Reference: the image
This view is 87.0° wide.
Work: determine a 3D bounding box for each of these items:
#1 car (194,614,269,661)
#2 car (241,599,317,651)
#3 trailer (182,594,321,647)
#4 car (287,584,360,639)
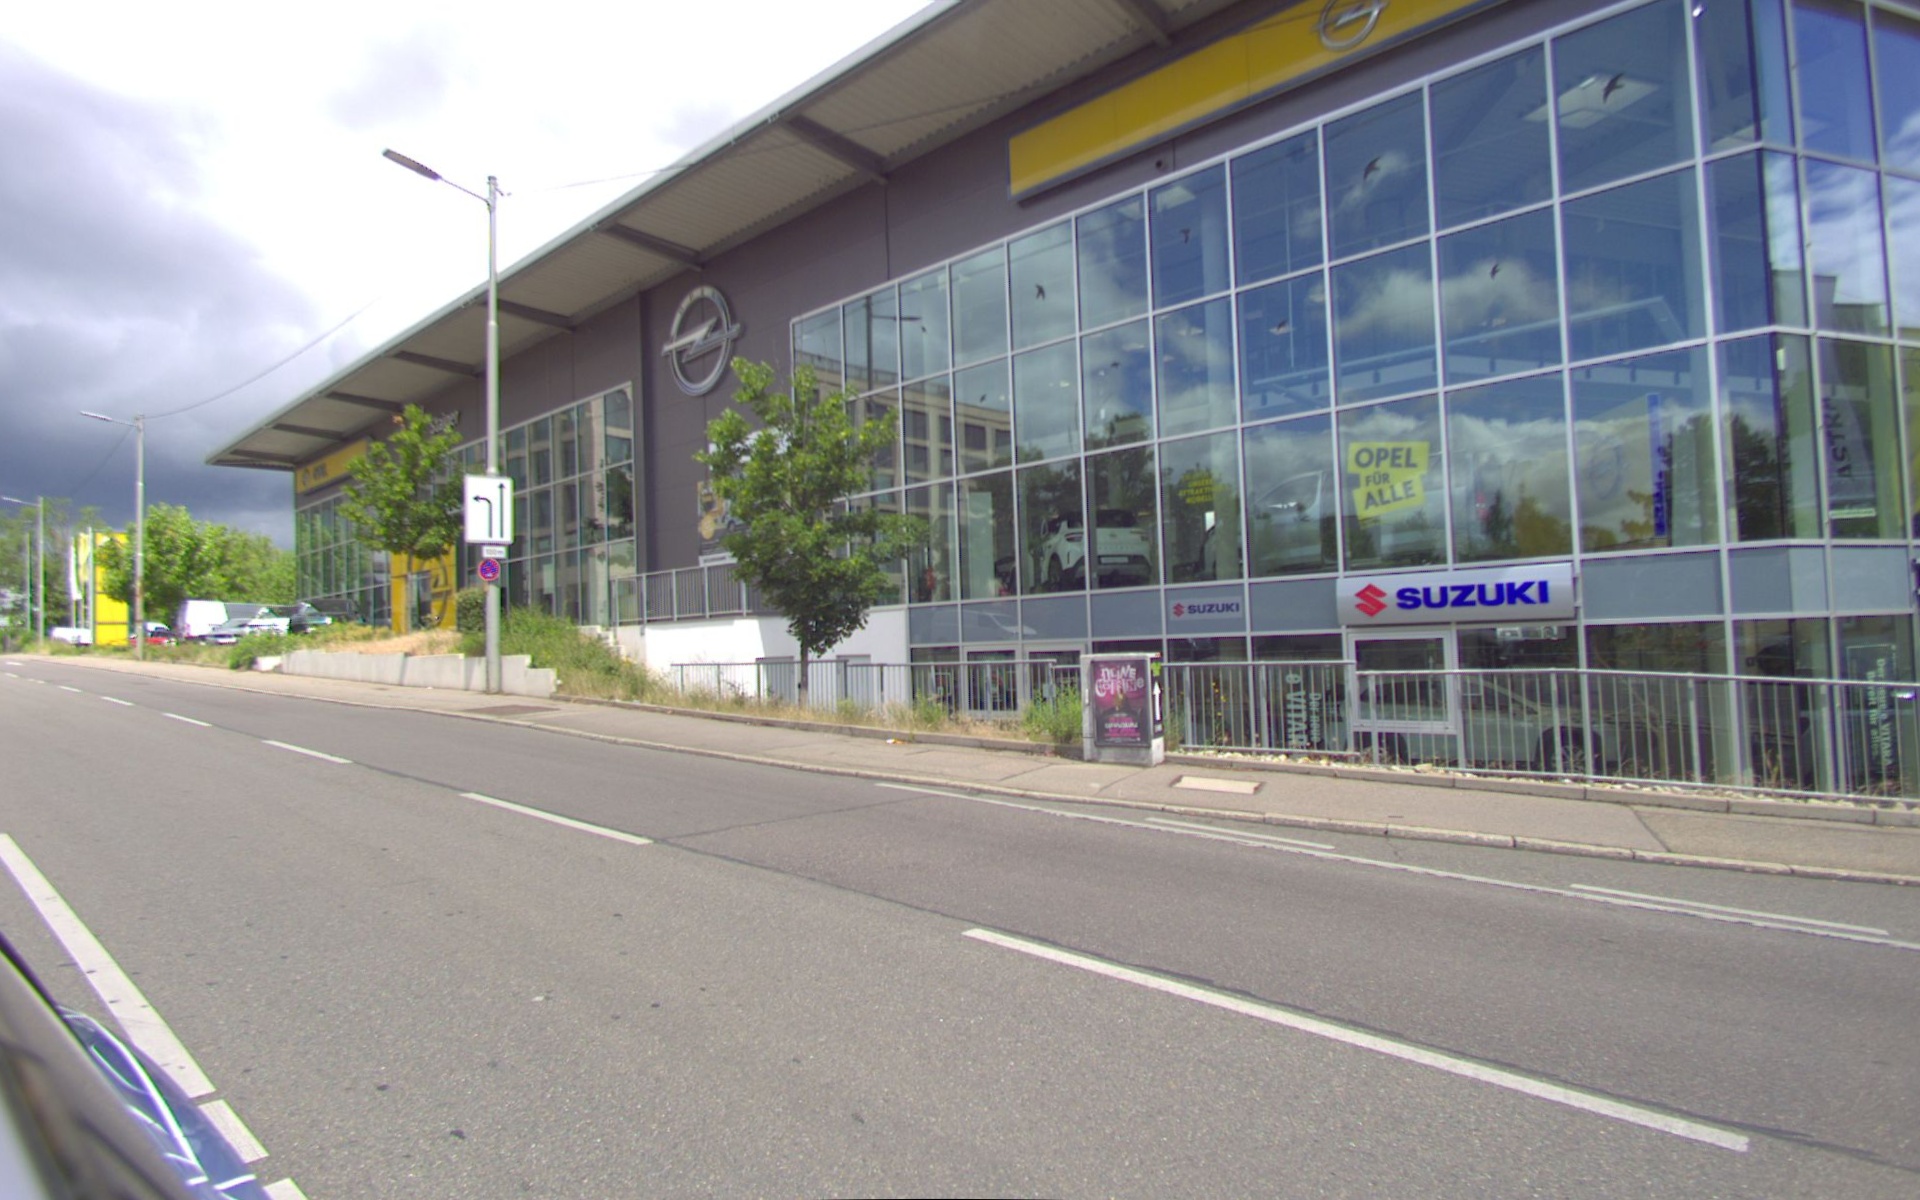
[{"bbox_3d":[-29.495,1.483,41.109,1.965,1.807,4.012,1,-1,-29],"label":"car"},{"bbox_3d":[-25.255,0.929,37.666,1.965,1.807,4.012,1,-1,-29],"label":"car"},{"bbox_3d":[-33.343,0.959,47.762,1.998,2.367,5.010,-1,-2,40],"label":"trailer"},{"bbox_3d":[-21.655,0.418,34.557,1.966,1.741,4.012,1,-2,-31],"label":"car"}]
